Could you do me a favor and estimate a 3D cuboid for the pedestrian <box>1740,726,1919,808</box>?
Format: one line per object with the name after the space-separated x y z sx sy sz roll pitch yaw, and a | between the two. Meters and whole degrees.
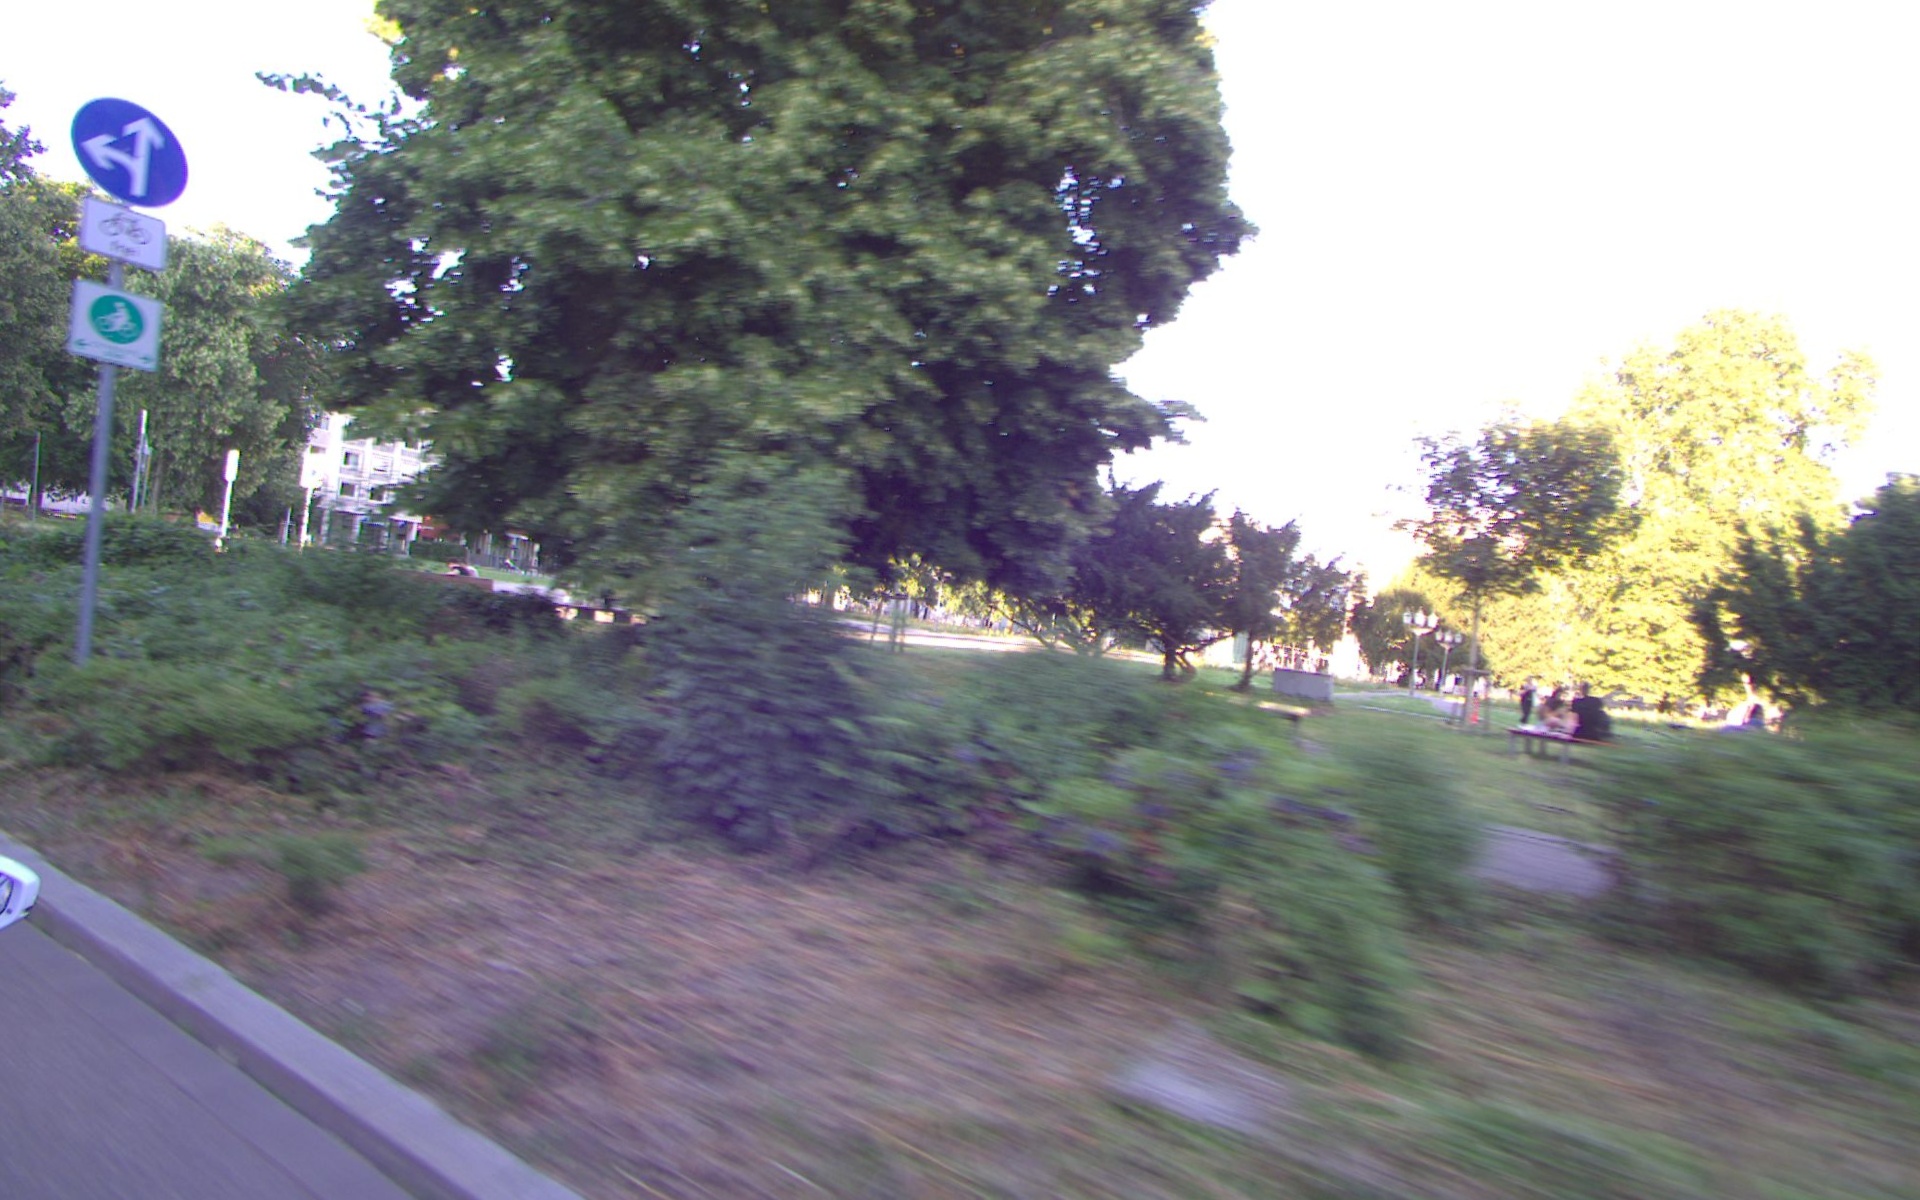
8.871 1.685 10.215 1.351 0.557 0.541 7 3 12 | pedestrian

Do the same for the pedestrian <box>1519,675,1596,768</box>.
9.784 1.972 16.509 0.773 1.364 0.761 7 1 15 | pedestrian

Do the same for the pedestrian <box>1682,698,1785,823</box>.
8.448 1.730 11.020 0.735 1.206 0.722 7 1 35 | pedestrian

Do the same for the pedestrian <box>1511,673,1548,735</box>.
17.156 3.120 30.324 0.745 1.769 0.772 7 1 28 | pedestrian

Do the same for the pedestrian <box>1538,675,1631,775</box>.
9.675 1.914 15.631 0.868 1.364 0.920 7 0 16 | pedestrian

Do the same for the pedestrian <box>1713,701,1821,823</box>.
9.166 1.815 11.466 0.777 1.206 0.807 7 1 35 | pedestrian

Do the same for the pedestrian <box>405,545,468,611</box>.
-10.825 -0.447 20.833 0.803 1.253 0.683 7 0 1 | pedestrian

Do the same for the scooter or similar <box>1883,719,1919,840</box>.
10.525 1.962 10.742 0.410 1.261 1.220 7 0 19 | scooter or similar

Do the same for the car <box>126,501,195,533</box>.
-68.436 -7.121 86.167 1.967 2.038 4.036 7 -1 33 | car

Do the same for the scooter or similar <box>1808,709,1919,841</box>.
10.094 1.908 11.194 0.410 1.261 1.221 7 0 15 | scooter or similar

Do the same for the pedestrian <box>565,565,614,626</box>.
-9.057 -0.105 24.586 0.804 1.358 0.598 7 0 26 | pedestrian

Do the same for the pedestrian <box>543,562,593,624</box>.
-9.357 -0.171 24.002 0.804 1.358 0.598 7 0 26 | pedestrian

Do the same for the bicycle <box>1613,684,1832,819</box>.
9.504 1.854 12.640 1.983 1.316 0.620 7 1 27 | bicycle

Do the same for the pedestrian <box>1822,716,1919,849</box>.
9.684 1.887 10.490 0.657 1.206 0.789 6 1 -31 | pedestrian

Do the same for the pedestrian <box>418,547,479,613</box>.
-10.910 -0.421 21.488 0.857 1.277 0.598 7 0 0 | pedestrian
